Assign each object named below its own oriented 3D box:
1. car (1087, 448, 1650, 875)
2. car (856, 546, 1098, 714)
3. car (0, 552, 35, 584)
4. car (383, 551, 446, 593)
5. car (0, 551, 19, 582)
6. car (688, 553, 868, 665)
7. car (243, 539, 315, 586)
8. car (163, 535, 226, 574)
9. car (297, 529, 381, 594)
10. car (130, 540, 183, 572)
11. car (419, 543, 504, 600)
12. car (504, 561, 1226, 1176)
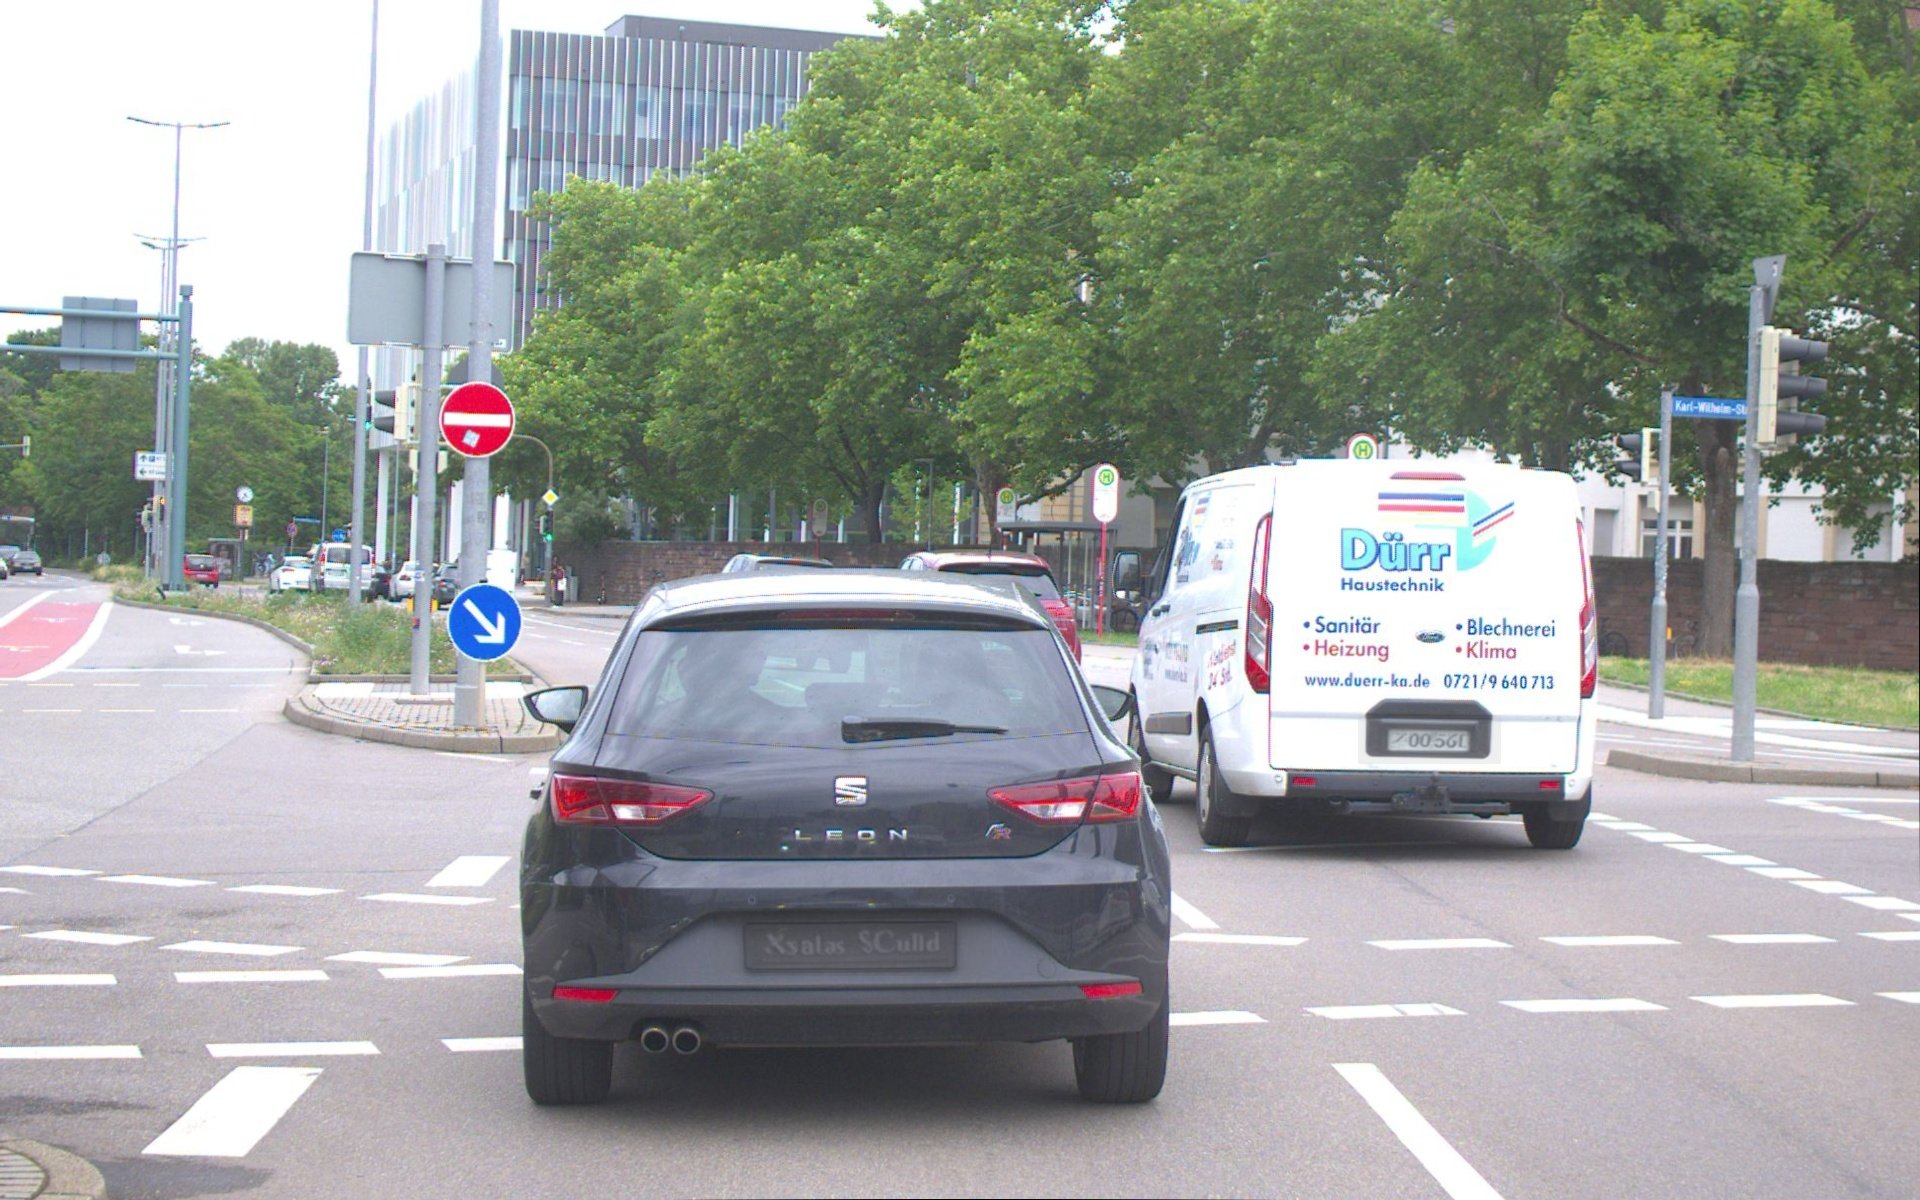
[{"bbox_3d":[2.076,0.253,19.144,1.993,2.012,5.033,2,1,-6],"label":"car"},{"bbox_3d":[0.112,0.269,36.250,1.857,1.595,4.206,2,1,-9],"label":"car"},{"bbox_3d":[-54.990,-1.872,199.228,1.993,1.774,4.001,1,1,-24],"label":"car"},{"bbox_3d":[-18.648,-0.974,117.369,1.525,1.360,2.970,1,1,-21],"label":"car"},{"bbox_3d":[-45.486,-1.613,162.260,1.686,1.411,3.645,2,1,-20],"label":"car"},{"bbox_3d":[-2.852,0.108,53.047,1.993,1.560,4.206,2,1,-14],"label":"car"},{"bbox_3d":[-25.334,-1.414,127.755,1.993,1.634,4.001,1,1,-20],"label":"car"},{"bbox_3d":[-34.427,-2.050,154.583,1.993,1.676,4.011,1,1,-23],"label":"car"},{"bbox_3d":[-20.103,-1.260,111.146,1.993,2.007,4.001,2,1,-20],"label":"car"},{"bbox_3d":[-34.071,-1.872,145.767,1.711,1.261,3.341,2,1,-21],"label":"car"},{"bbox_3d":[-15.443,-0.898,106.368,1.917,1.678,4.001,2,1,-18],"label":"car"},{"bbox_3d":[-0.428,0.662,10.437,1.745,1.459,4.001,-1,0,-6],"label":"car"}]
